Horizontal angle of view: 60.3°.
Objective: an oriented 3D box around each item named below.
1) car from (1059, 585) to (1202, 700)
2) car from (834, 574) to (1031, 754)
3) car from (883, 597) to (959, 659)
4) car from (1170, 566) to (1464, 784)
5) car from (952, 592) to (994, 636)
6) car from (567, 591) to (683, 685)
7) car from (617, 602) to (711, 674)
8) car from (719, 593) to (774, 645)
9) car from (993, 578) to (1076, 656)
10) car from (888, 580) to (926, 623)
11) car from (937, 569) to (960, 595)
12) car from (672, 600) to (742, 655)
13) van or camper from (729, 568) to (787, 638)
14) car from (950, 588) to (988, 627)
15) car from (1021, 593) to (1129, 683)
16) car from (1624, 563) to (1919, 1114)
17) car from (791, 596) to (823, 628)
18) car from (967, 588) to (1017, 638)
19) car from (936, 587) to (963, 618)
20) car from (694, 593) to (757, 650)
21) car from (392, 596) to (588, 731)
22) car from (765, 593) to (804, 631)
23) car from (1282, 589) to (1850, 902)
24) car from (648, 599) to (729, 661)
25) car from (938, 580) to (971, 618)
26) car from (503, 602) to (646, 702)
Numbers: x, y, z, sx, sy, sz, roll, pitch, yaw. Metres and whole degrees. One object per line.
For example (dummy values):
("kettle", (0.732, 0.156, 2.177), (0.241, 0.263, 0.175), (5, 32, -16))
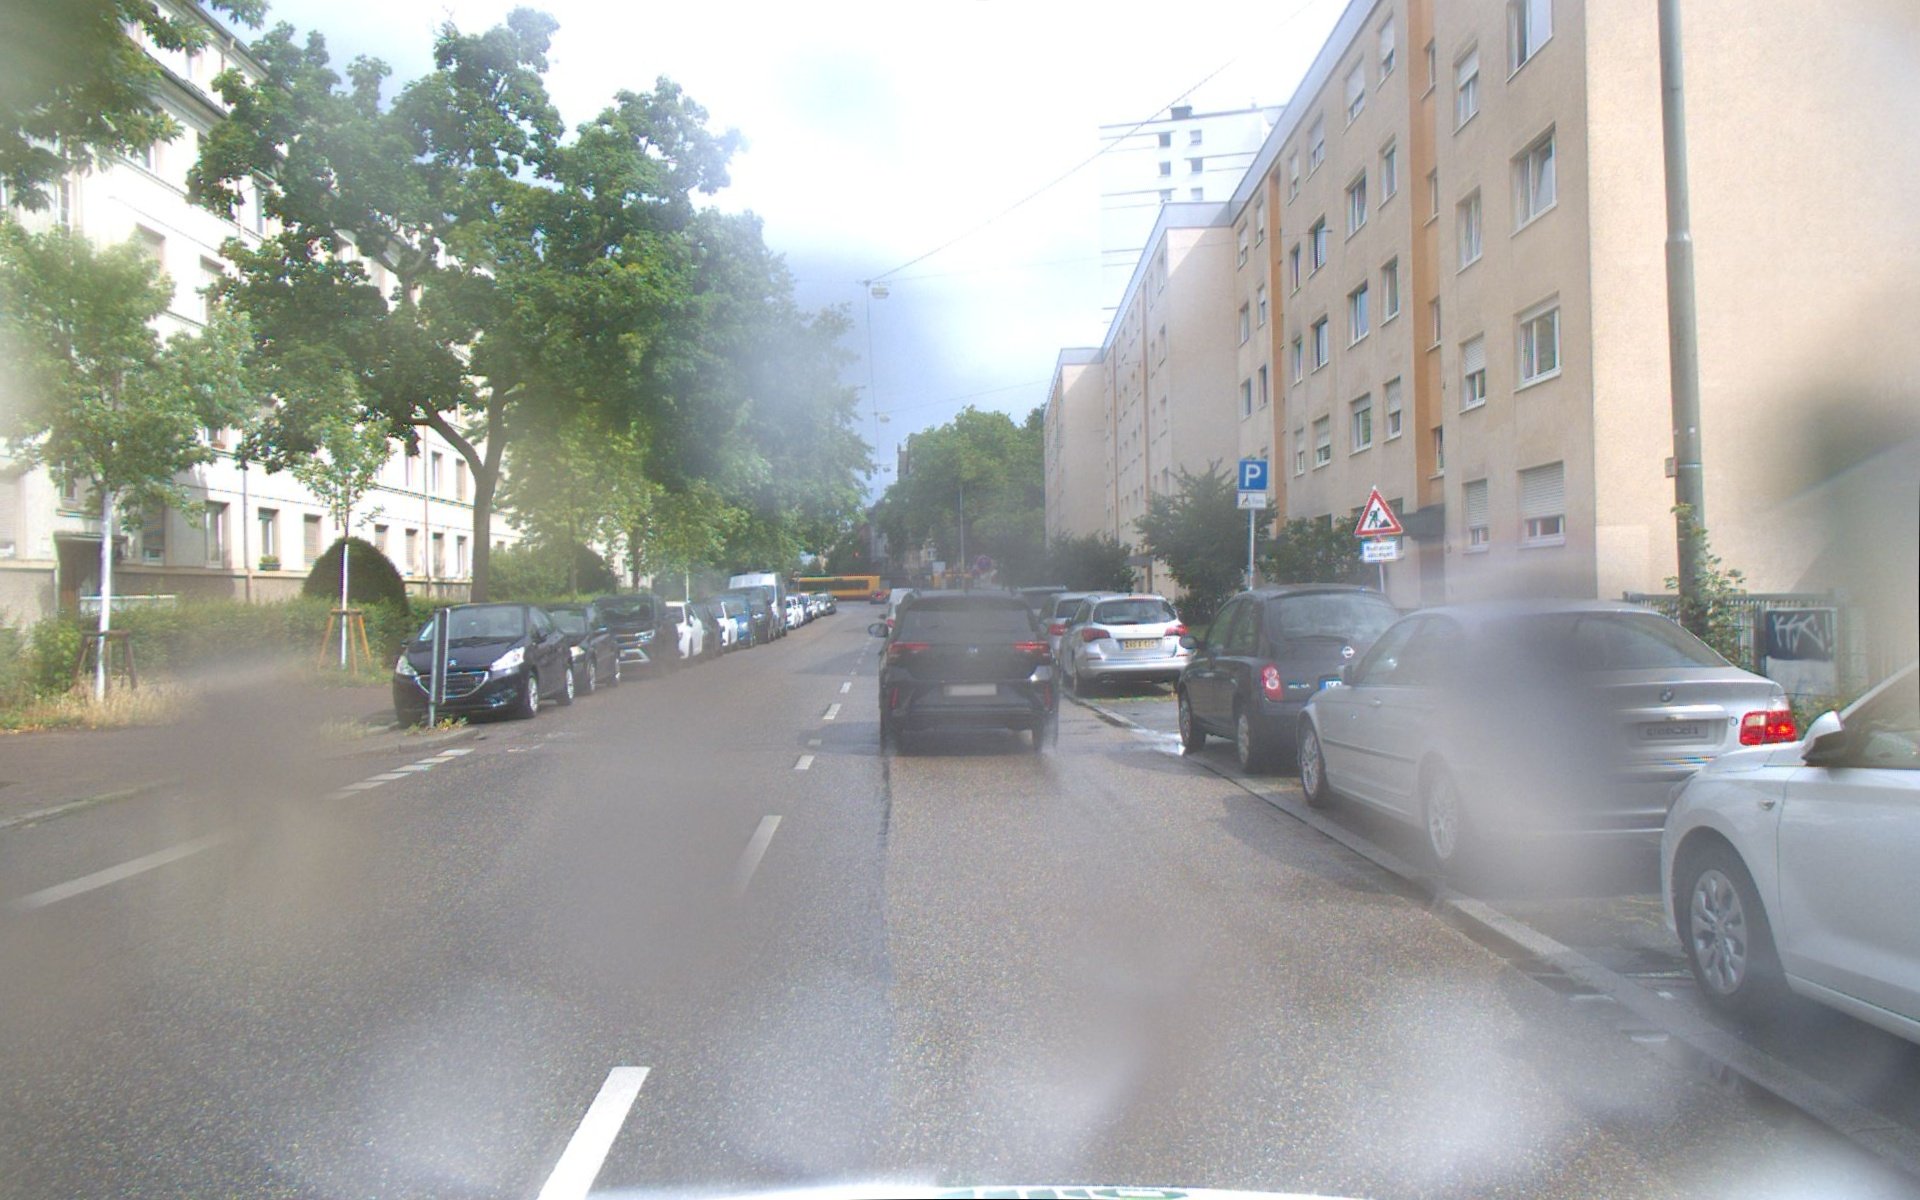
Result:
("car", (2.564, 0.603, 25.690), (1.661, 1.565, 4.031), (-3, 0, -1))
("car", (-0.216, 0.588, 17.552), (1.834, 1.674, 4.062), (0, 0, 1))
("car", (-0.962, 0.719, 42.933), (1.776, 1.529, 4.000), (1, -1, 1))
("car", (3.029, 0.558, 14.860), (1.572, 1.690, 4.030), (0, 1, -3))
("car", (0.555, 0.584, 72.717), (1.572, 1.796, 4.030), (-3, 0, -3))
("car", (-6.362, 0.678, 31.767), (1.554, 1.603, 4.011), (-3, 0, -3))
("car", (-6.573, 0.810, 37.091), (1.554, 1.442, 3.918), (-3, 0, -3))
("car", (-7.403, 0.621, 57.545), (1.554, 1.668, 3.918), (-3, 0, -3))
("car", (1.723, 0.373, 39.556), (1.572, 1.701, 4.030), (-3, 0, -3))
("car", (-2.687, 0.107, 84.312), (1.799, 2.140, 4.000), (1, -1, 0))
("car", (-0.876, -1.335, 123.669), (1.632, 1.870, 3.999), (-2, 0, -1))
("car", (-7.194, 0.755, 47.368), (1.554, 1.442, 3.918), (-3, 0, -3))
("van or camper", (-7.756, 0.097, 63.773), (1.767, 2.537, 5.017), (-2, 0, -3))
("car", (0.402, 0.344, 79.295), (1.572, 1.796, 4.030), (-3, 0, -3))
("car", (2.134, 0.676, 31.638), (1.572, 1.532, 4.030), (-3, 0, -3))
("car", (3.532, 0.645, 4.399), (1.714, 1.534, 4.109), (-1, -1, -3))
("car", (-8.467, 0.654, 91.721), (1.554, 1.668, 3.918), (-3, 0, -3))
("car", (1.192, 0.482, 63.245), (1.572, 1.796, 4.030), (-3, 0, -3))
("car", (-0.661, 0.149, 105.342), (1.632, 1.870, 3.999), (-2, 0, -1))
("car", (-7.295, 0.644, 51.779), (1.554, 1.668, 3.918), (-3, 0, -3))
("car", (-6.049, 0.753, 21.718), (1.554, 1.532, 4.062), (-3, 0, -3))
("car", (-8.202, 0.549, 77.716), (1.554, 1.668, 3.918), (-3, 0, -3))
("car", (3.306, 0.687, 9.992), (1.682, 1.478, 4.256), (0, 0, -3))
("car", (-6.905, 0.731, 42.370), (1.554, 1.442, 3.918), (-3, 0, -3))
("car", (-0.299, -0.039, 86.104), (1.632, 1.870, 3.999), (-2, 0, -1))
("car", (-6.260, 0.797, 27.239), (1.554, 1.442, 4.050), (-3, 0, -3))
